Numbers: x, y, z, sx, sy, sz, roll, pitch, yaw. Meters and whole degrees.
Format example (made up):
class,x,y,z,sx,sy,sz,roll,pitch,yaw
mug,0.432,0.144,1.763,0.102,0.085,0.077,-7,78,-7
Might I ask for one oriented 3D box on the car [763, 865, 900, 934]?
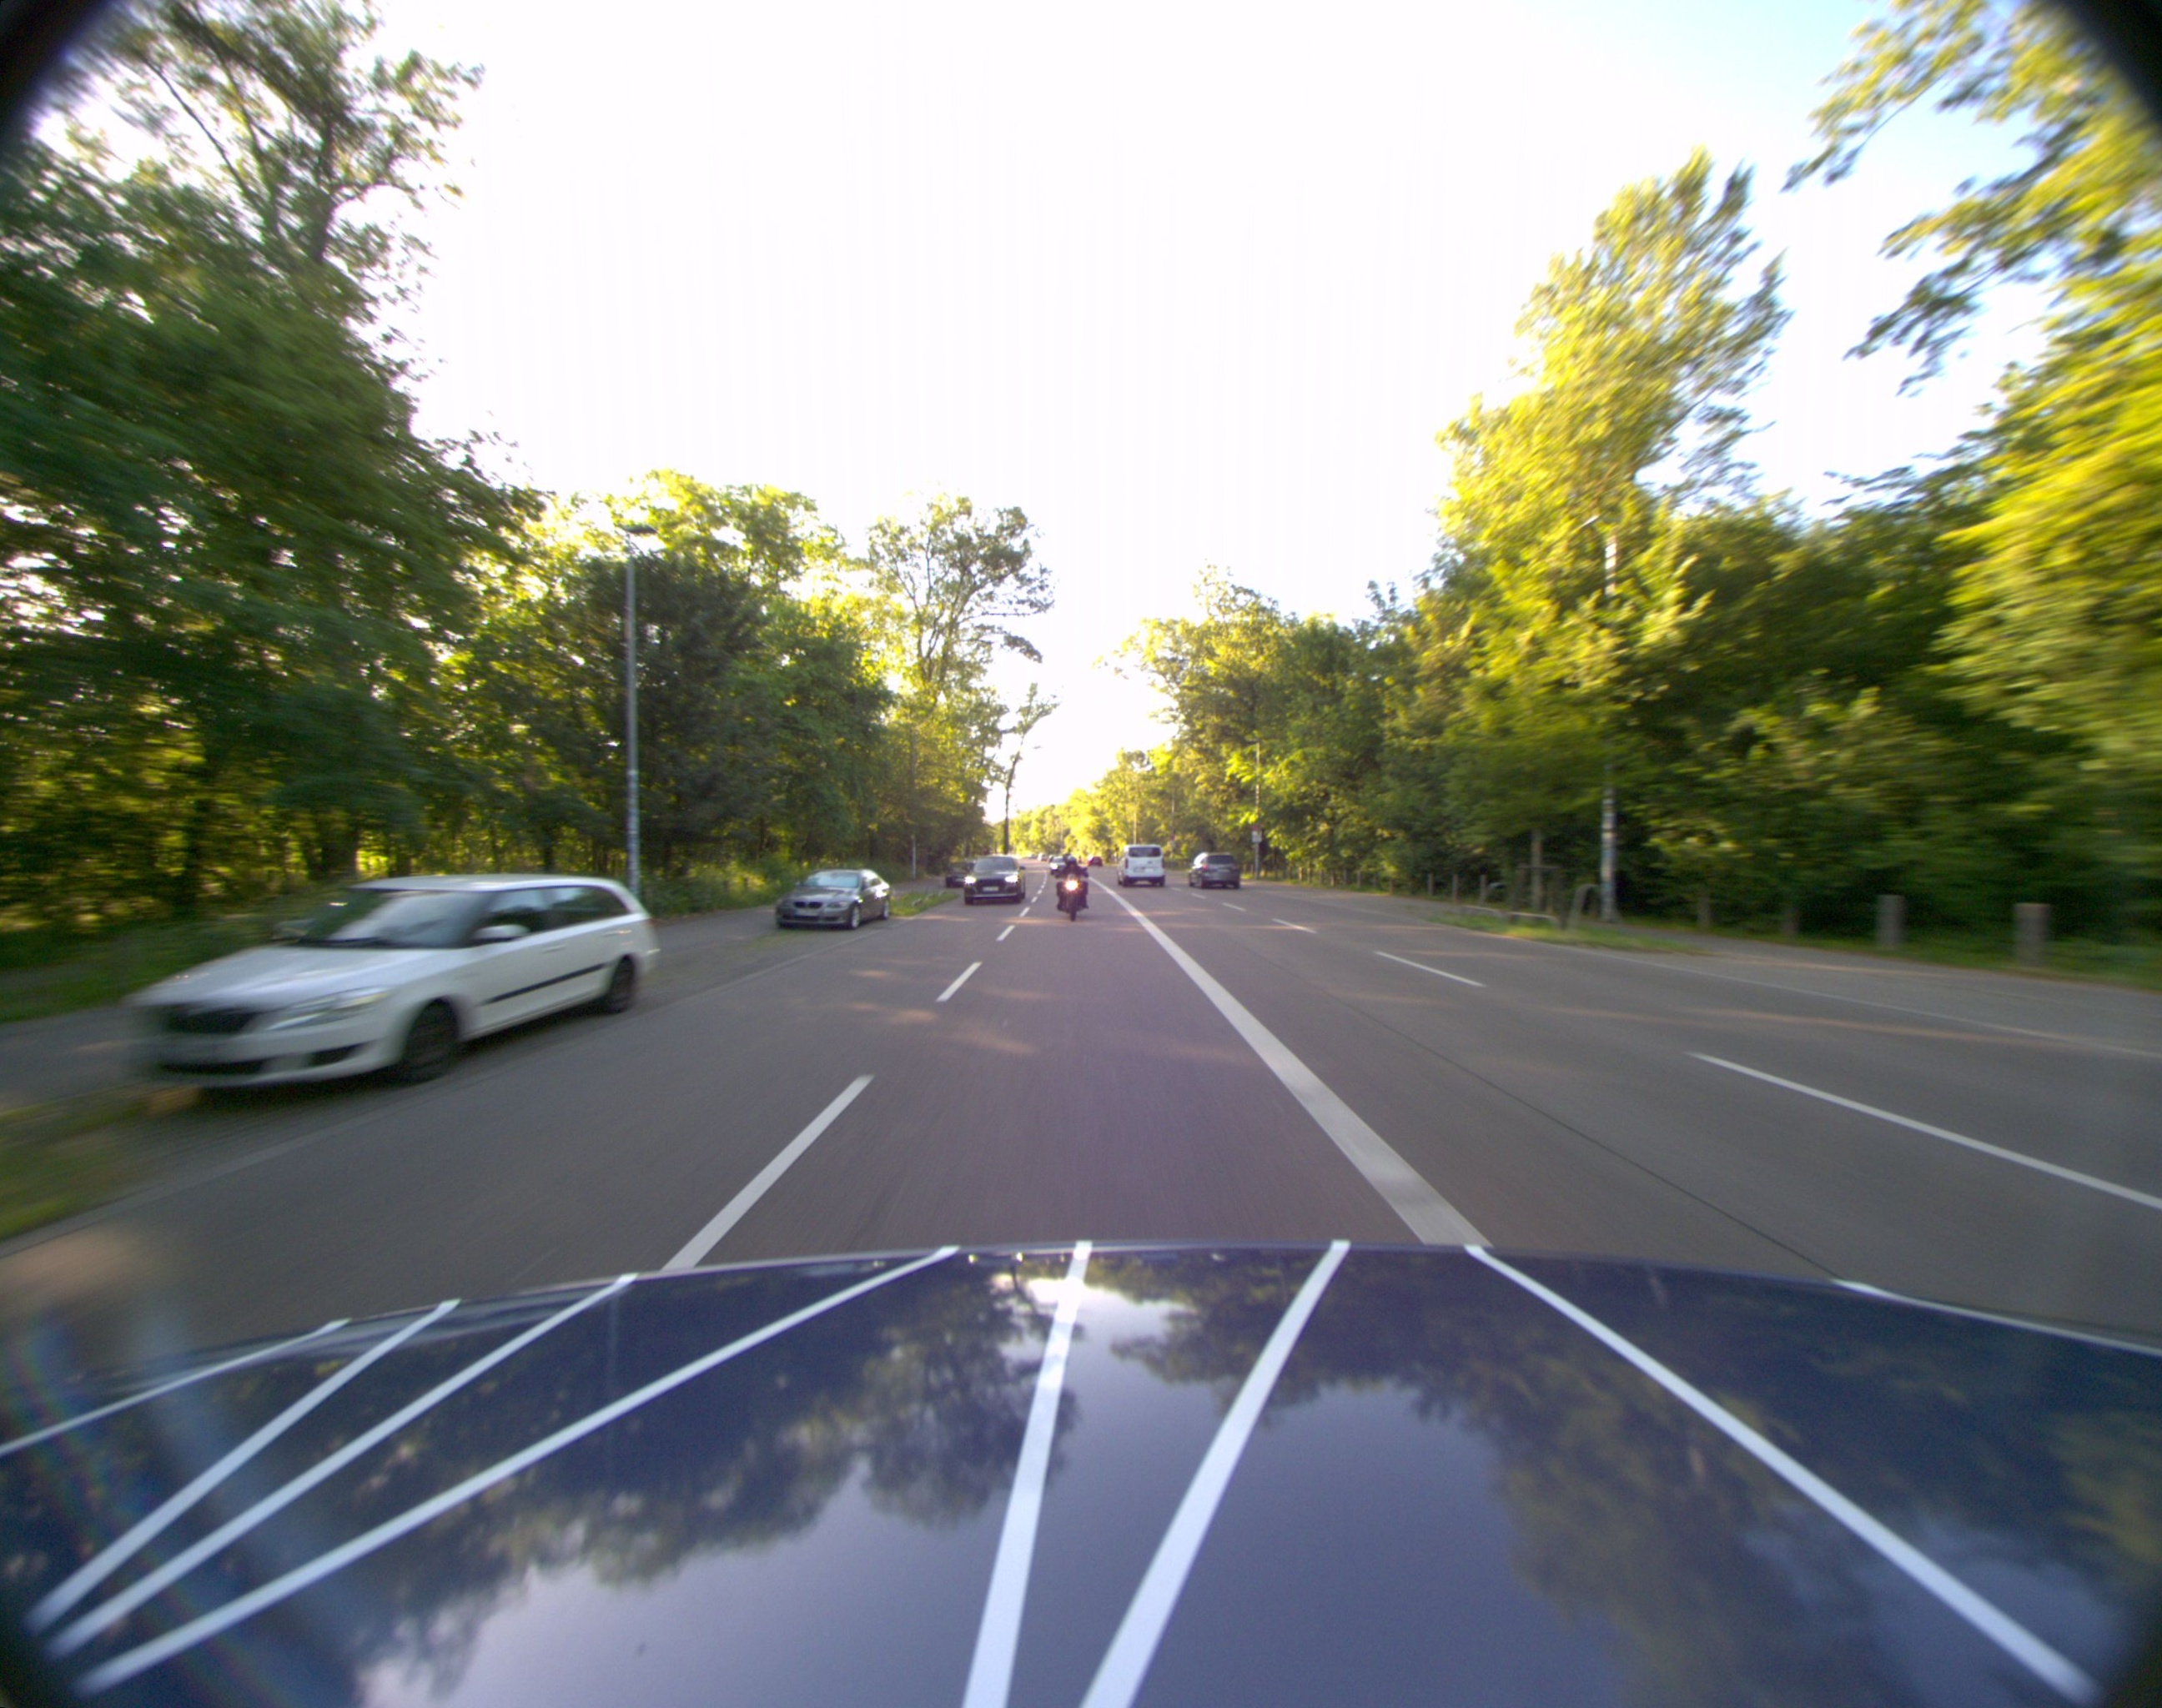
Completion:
class,x,y,z,sx,sy,sz,roll,pitch,yaw
car,-6.014,1.029,18.907,1.857,1.384,4.521,2,0,0

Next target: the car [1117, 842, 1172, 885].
class,x,y,z,sx,sy,sz,roll,pitch,yaw
car,3.027,0.410,37.284,2.212,1.949,4.912,-1,0,0

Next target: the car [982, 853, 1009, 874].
class,x,y,z,sx,sy,sz,roll,pitch,yaw
car,-6.887,0.732,61.738,1.858,1.575,4.721,2,0,-3

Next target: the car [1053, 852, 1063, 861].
class,x,y,z,sx,sy,sz,roll,pitch,yaw
car,-4.484,0.450,145.133,1.810,1.536,4.088,-1,0,-3

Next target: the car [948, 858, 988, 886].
class,x,y,z,sx,sy,sz,roll,pitch,yaw
car,-6.166,0.936,41.710,1.740,1.384,3.944,-1,0,-3

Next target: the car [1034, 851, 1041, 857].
class,x,y,z,sx,sy,sz,roll,pitch,yaw
car,-12.827,-0.067,223.655,1.999,1.649,4.446,-1,0,-5

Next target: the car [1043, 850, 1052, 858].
class,x,y,z,sx,sy,sz,roll,pitch,yaw
car,-7.641,0.026,172.300,1.911,1.746,4.797,0,0,-5

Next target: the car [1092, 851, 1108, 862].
class,x,y,z,sx,sy,sz,roll,pitch,yaw
car,2.497,0.323,101.628,1.828,1.454,4.923,0,0,-3

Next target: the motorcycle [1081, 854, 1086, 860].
class,x,y,z,sx,sy,sz,roll,pitch,yaw
motorcycle,0.428,0.504,131.468,0.670,0.899,2.166,-1,0,-3

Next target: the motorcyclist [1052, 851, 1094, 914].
class,x,y,z,sx,sy,sz,roll,pitch,yaw
motorcyclist,-0.195,0.707,19.413,0.953,1.523,1.074,-2,1,2

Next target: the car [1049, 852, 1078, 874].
class,x,y,z,sx,sy,sz,roll,pitch,yaw
car,-1.429,0.733,64.115,1.998,1.762,4.232,-2,1,3

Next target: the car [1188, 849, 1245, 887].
class,x,y,z,sx,sy,sz,roll,pitch,yaw
car,6.043,0.599,34.304,1.805,1.590,3.999,-1,0,-1

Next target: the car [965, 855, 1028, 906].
class,x,y,z,sx,sy,sz,roll,pitch,yaw
car,-2.898,0.873,26.786,1.861,1.608,3.999,-1,0,-2

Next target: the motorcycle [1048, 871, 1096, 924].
class,x,y,z,sx,sy,sz,roll,pitch,yaw
motorcycle,-0.177,1.050,19.426,0.956,1.098,3.340,-3,0,3

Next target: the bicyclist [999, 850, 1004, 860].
class,x,y,z,sx,sy,sz,roll,pitch,yaw
bicyclist,-12.633,0.164,120.906,0.704,1.552,0.875,1,1,-3

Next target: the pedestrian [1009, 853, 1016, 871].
class,x,y,z,sx,sy,sz,roll,pitch,yaw
pedestrian,-6.719,0.773,74.140,0.513,1.746,0.734,0,1,-16

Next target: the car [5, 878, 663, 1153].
class,x,y,z,sx,sy,sz,roll,pitch,yaw
car,-5.717,1.058,6.734,1.732,1.502,4.169,2,0,-1
